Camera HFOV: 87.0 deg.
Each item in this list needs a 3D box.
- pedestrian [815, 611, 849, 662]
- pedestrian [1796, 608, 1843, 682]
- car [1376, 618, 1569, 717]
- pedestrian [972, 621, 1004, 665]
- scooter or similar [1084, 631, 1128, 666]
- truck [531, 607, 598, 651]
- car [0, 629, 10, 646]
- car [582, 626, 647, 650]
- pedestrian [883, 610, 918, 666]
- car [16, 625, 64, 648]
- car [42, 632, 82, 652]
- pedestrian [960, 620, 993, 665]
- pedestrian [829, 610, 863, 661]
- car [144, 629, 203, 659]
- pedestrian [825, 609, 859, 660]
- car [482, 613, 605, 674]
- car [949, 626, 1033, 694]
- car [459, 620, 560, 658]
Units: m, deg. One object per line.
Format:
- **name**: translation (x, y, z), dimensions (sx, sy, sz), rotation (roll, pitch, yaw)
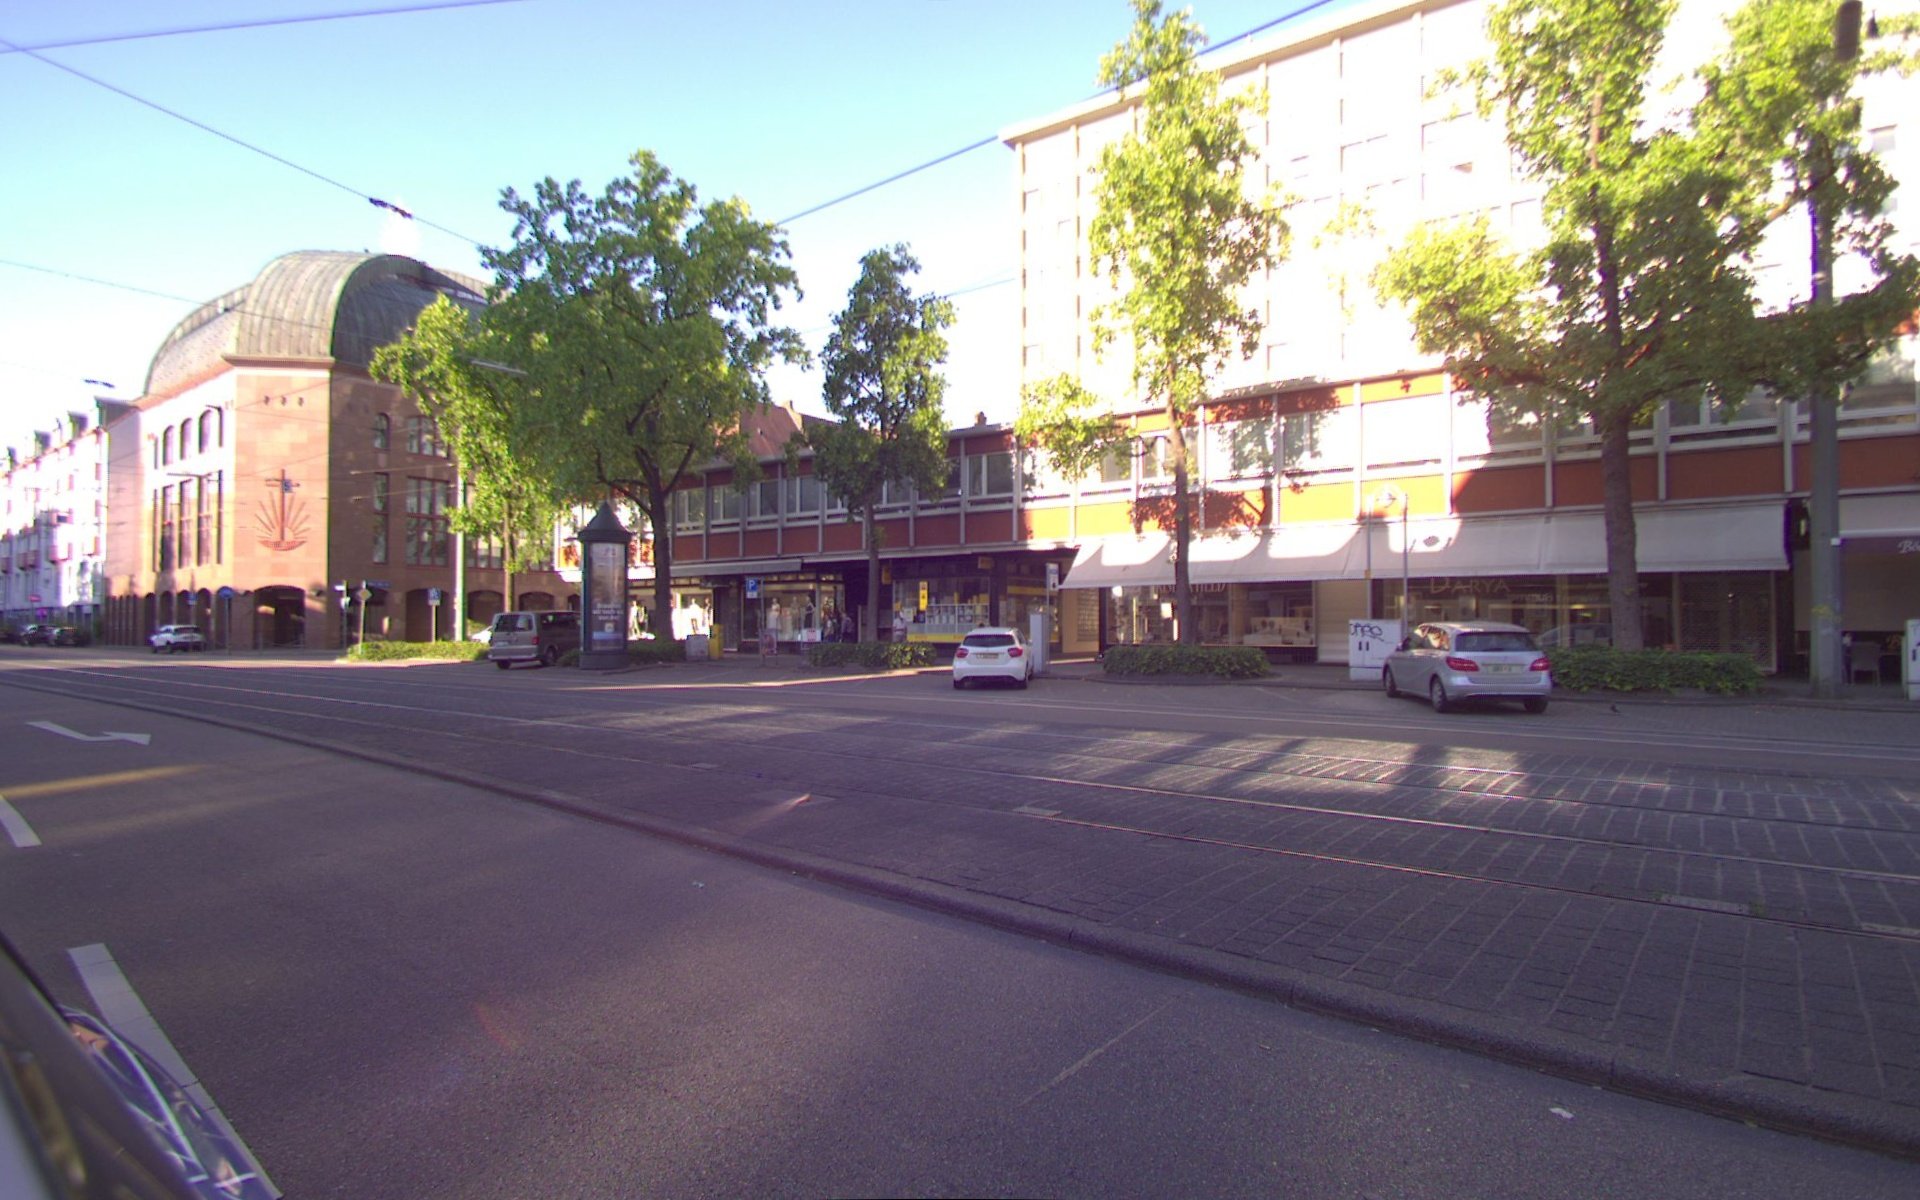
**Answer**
- **pedestrian**: translation (-4.775, 1.366, 37.870), dimensions (0.898, 1.892, 0.908), rotation (-1, -2, 36)
- **pedestrian**: translation (18.769, 0.966, 22.125), dimensions (0.705, 1.575, 0.864), rotation (-2, -2, 38)
- **car**: translation (9.309, 1.145, 18.806), dimensions (1.805, 1.578, 4.271), rotation (0, 0, 7)
- **pedestrian**: translation (0.960, 1.473, 34.975), dimensions (0.898, 1.481, 0.681), rotation (-1, -2, 36)
- **scooter or similar**: translation (4.666, 1.534, 32.446), dimensions (1.335, 1.102, 0.470), rotation (-1, -1, 36)
- **truck**: translation (-25.762, 1.902, 65.903), dimensions (4.519, 2.784, 1.835), rotation (-1, -2, 34)
- **car**: translation (-86.726, 3.365, 90.576), dimensions (4.555, 1.520, 1.807), rotation (-1, -1, 38)
- **car**: translation (-23.528, 2.554, 68.901), dimensions (4.519, 1.585, 1.835), rotation (-1, -2, 34)
- **pedestrian**: translation (-2.029, 1.286, 34.499), dimensions (0.903, 1.892, 0.903), rotation (1, -2, -24)
- **car**: translation (-71.847, 2.822, 79.029), dimensions (4.552, 1.713, 1.941), rotation (-1, -1, 37)
- **car**: translation (-66.437, 3.061, 74.868), dimensions (3.679, 1.411, 1.626), rotation (-1, -1, 39)
- **pedestrian**: translation (0.555, 1.440, 34.398), dimensions (0.898, 1.509, 0.681), rotation (-1, -2, 36)
- **pedestrian**: translation (-4.346, 1.356, 38.565), dimensions (0.898, 1.892, 0.908), rotation (-1, -2, 36)
- **car**: translation (-45.322, 2.512, 58.306), dimensions (4.269, 1.602, 1.581), rotation (-1, 0, 36)
- **pedestrian**: translation (-4.635, 1.351, 39.768), dimensions (0.898, 1.963, 0.984), rotation (-1, -2, 36)
- **car**: translation (-14.692, 1.476, 36.047), dimensions (1.831, 1.943, 5.112), rotation (0, 0, 6)
- **car**: translation (0.859, 1.427, 25.375), dimensions (1.745, 1.440, 4.261), rotation (-1, 0, 7)
- **car**: translation (-26.048, 2.213, 58.711), dimensions (2.128, 1.982, 4.934), rotation (2, 0, 36)
